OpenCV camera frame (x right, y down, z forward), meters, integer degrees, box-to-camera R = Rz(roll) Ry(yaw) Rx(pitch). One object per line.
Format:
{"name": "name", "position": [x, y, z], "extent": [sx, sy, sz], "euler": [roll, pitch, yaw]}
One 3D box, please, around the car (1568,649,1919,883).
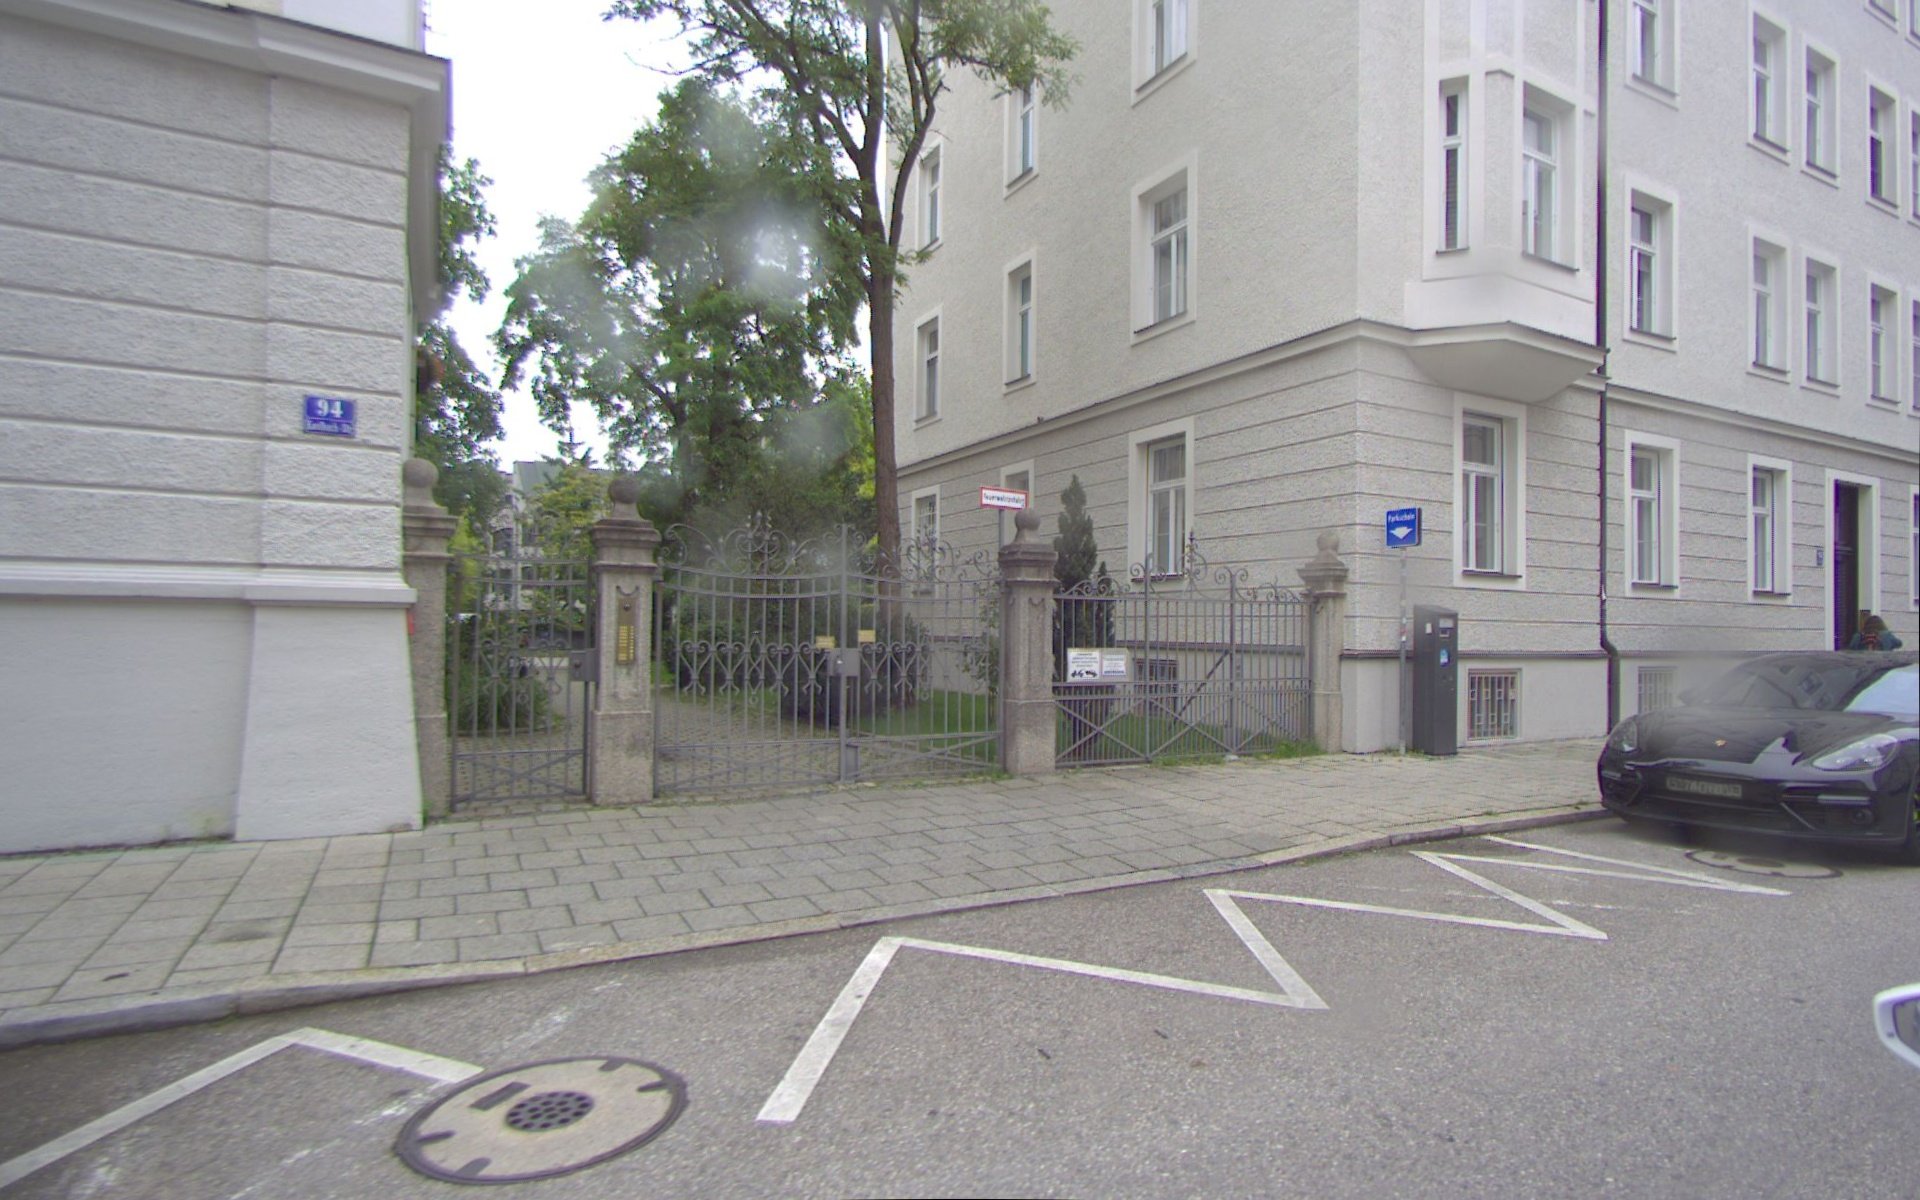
{"name": "car", "position": [7.172, 1.119, 8.179], "extent": [4.647, 1.385, 1.841], "euler": [1, -2, -30]}

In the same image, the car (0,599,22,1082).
{"name": "car", "position": [-4.613, 0.728, 1.731], "extent": [4.010, 1.601, 1.690], "euler": [1, -4, -28]}

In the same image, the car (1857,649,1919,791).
{"name": "car", "position": [11.899, 1.253, 10.875], "extent": [4.454, 1.438, 1.788], "euler": [2, -5, -28]}

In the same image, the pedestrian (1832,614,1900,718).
{"name": "pedestrian", "position": [15.503, 1.104, 17.194], "extent": [0.657, 1.729, 0.694], "euler": [1, -1, -30]}
